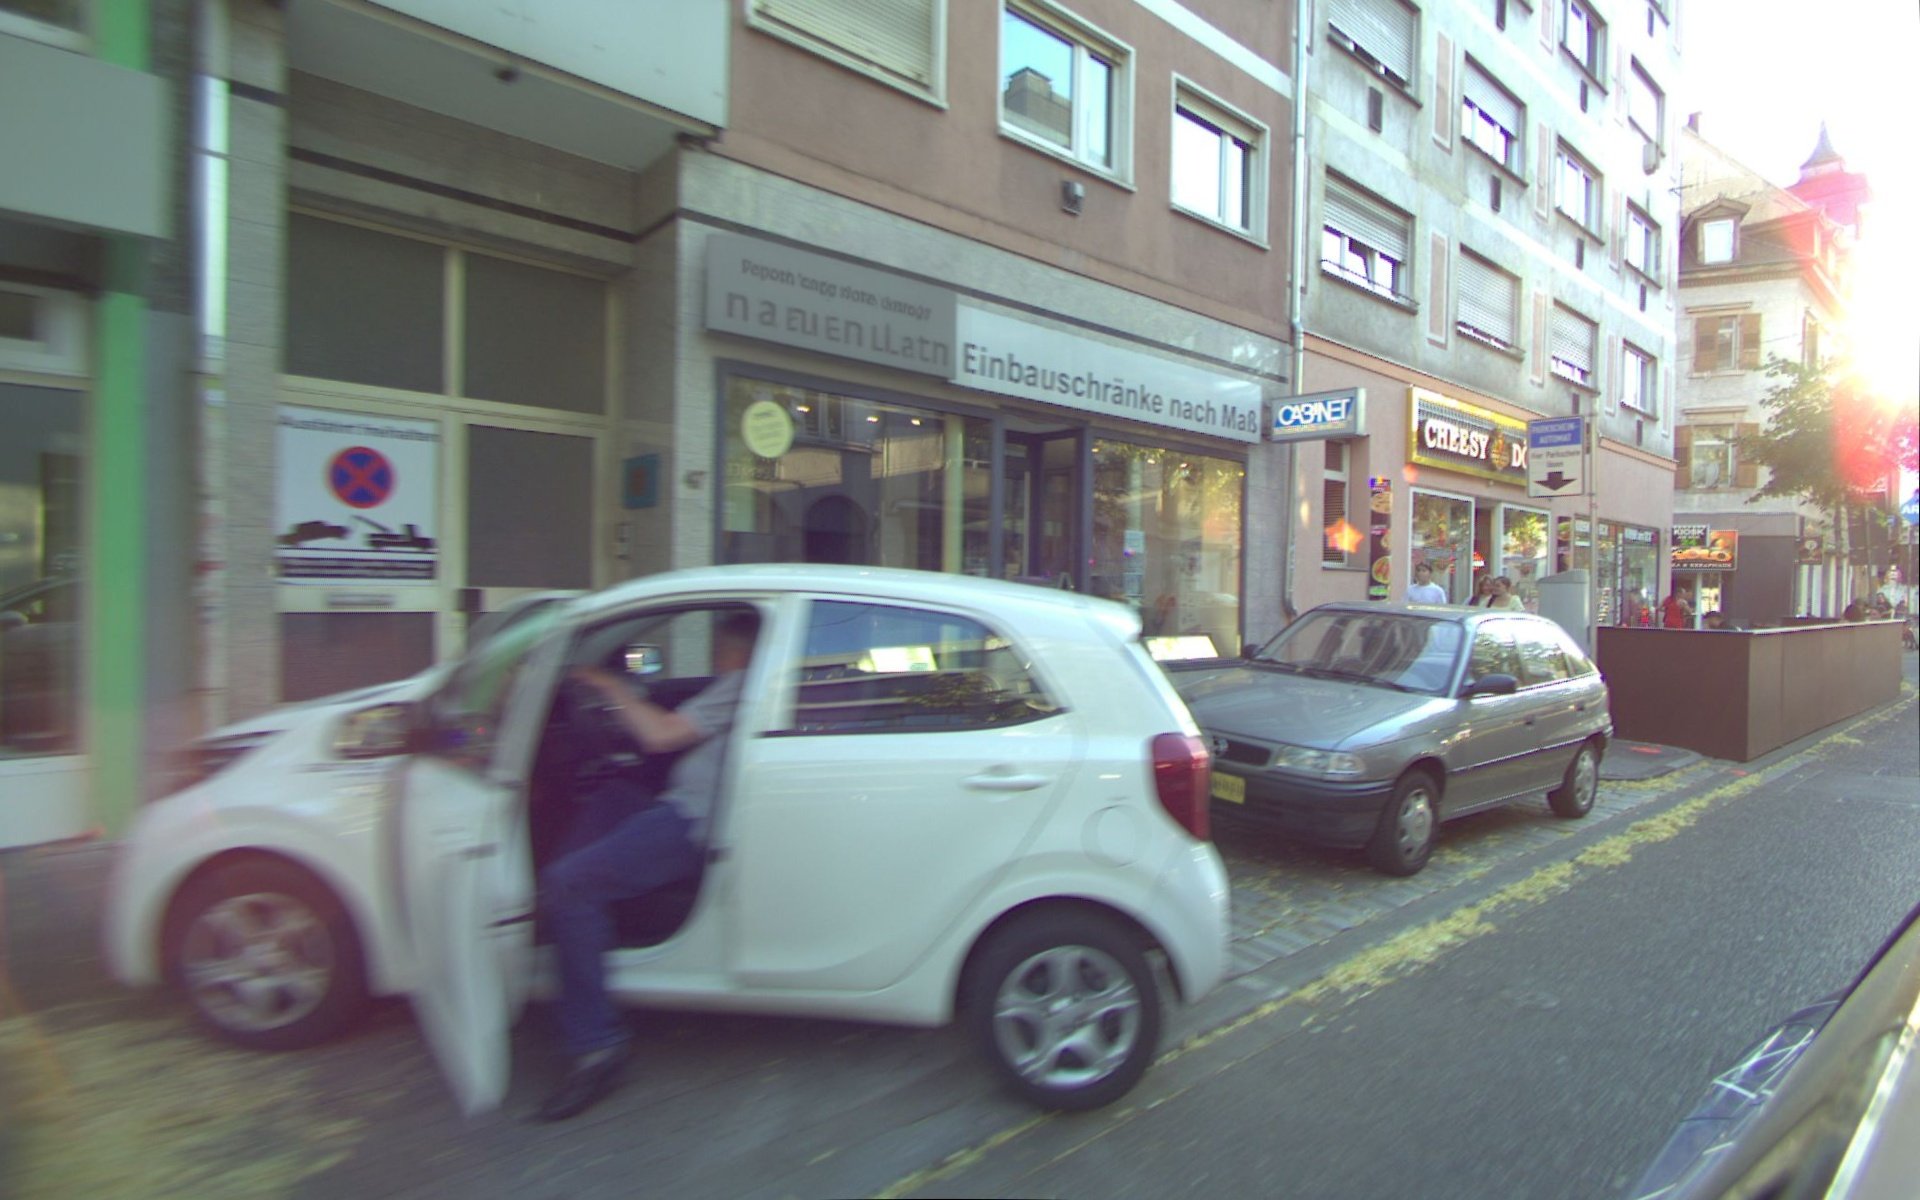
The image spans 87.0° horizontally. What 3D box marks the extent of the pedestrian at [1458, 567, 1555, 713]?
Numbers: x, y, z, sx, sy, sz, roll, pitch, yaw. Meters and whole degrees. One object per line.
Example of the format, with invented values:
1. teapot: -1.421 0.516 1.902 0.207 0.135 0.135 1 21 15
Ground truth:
1. pedestrian: 6.469 0.441 11.988 0.841 1.652 0.747 0 1 -41

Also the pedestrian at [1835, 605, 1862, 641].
1. pedestrian: 29.463 0.768 33.552 0.636 1.149 0.551 0 3 -40

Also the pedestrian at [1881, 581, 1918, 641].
1. pedestrian: 30.858 0.343 33.255 0.743 1.898 0.719 0 3 -40

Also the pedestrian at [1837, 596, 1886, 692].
1. pedestrian: 14.560 0.699 16.343 0.538 1.498 0.448 0 3 -40

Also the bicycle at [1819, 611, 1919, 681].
1. bicycle: 17.804 0.861 19.582 0.469 1.230 2.063 1 1 -4

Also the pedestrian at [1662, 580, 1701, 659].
1. pedestrian: 15.515 0.410 21.765 0.563 1.644 0.493 0 3 -40

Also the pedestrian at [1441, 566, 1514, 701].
1. pedestrian: 6.572 0.401 12.844 0.657 1.652 0.607 0 1 -41

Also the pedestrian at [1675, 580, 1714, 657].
1. pedestrian: 16.268 0.401 22.414 0.563 1.644 0.493 0 3 -40

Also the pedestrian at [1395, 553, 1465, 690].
1. pedestrian: 6.221 0.269 13.385 0.657 1.760 0.607 0 1 -41

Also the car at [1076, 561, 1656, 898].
1. car: 2.842 0.596 6.731 3.919 1.491 1.831 0 5 -39

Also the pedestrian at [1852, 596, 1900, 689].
1. pedestrian: 15.309 0.698 16.914 0.553 1.498 0.448 0 3 -40

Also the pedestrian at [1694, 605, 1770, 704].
1. pedestrian: 11.014 0.756 14.445 0.636 1.322 0.687 0 3 -39

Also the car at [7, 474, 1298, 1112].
1. car: -0.888 0.506 3.659 3.555 1.603 1.666 3 2 0

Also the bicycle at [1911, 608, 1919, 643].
1. bicycle: 31.457 0.818 32.799 2.021 1.122 0.479 0 1 -34

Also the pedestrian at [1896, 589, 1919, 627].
1. pedestrian: 40.913 0.351 43.614 0.743 1.594 0.719 0 3 -40
